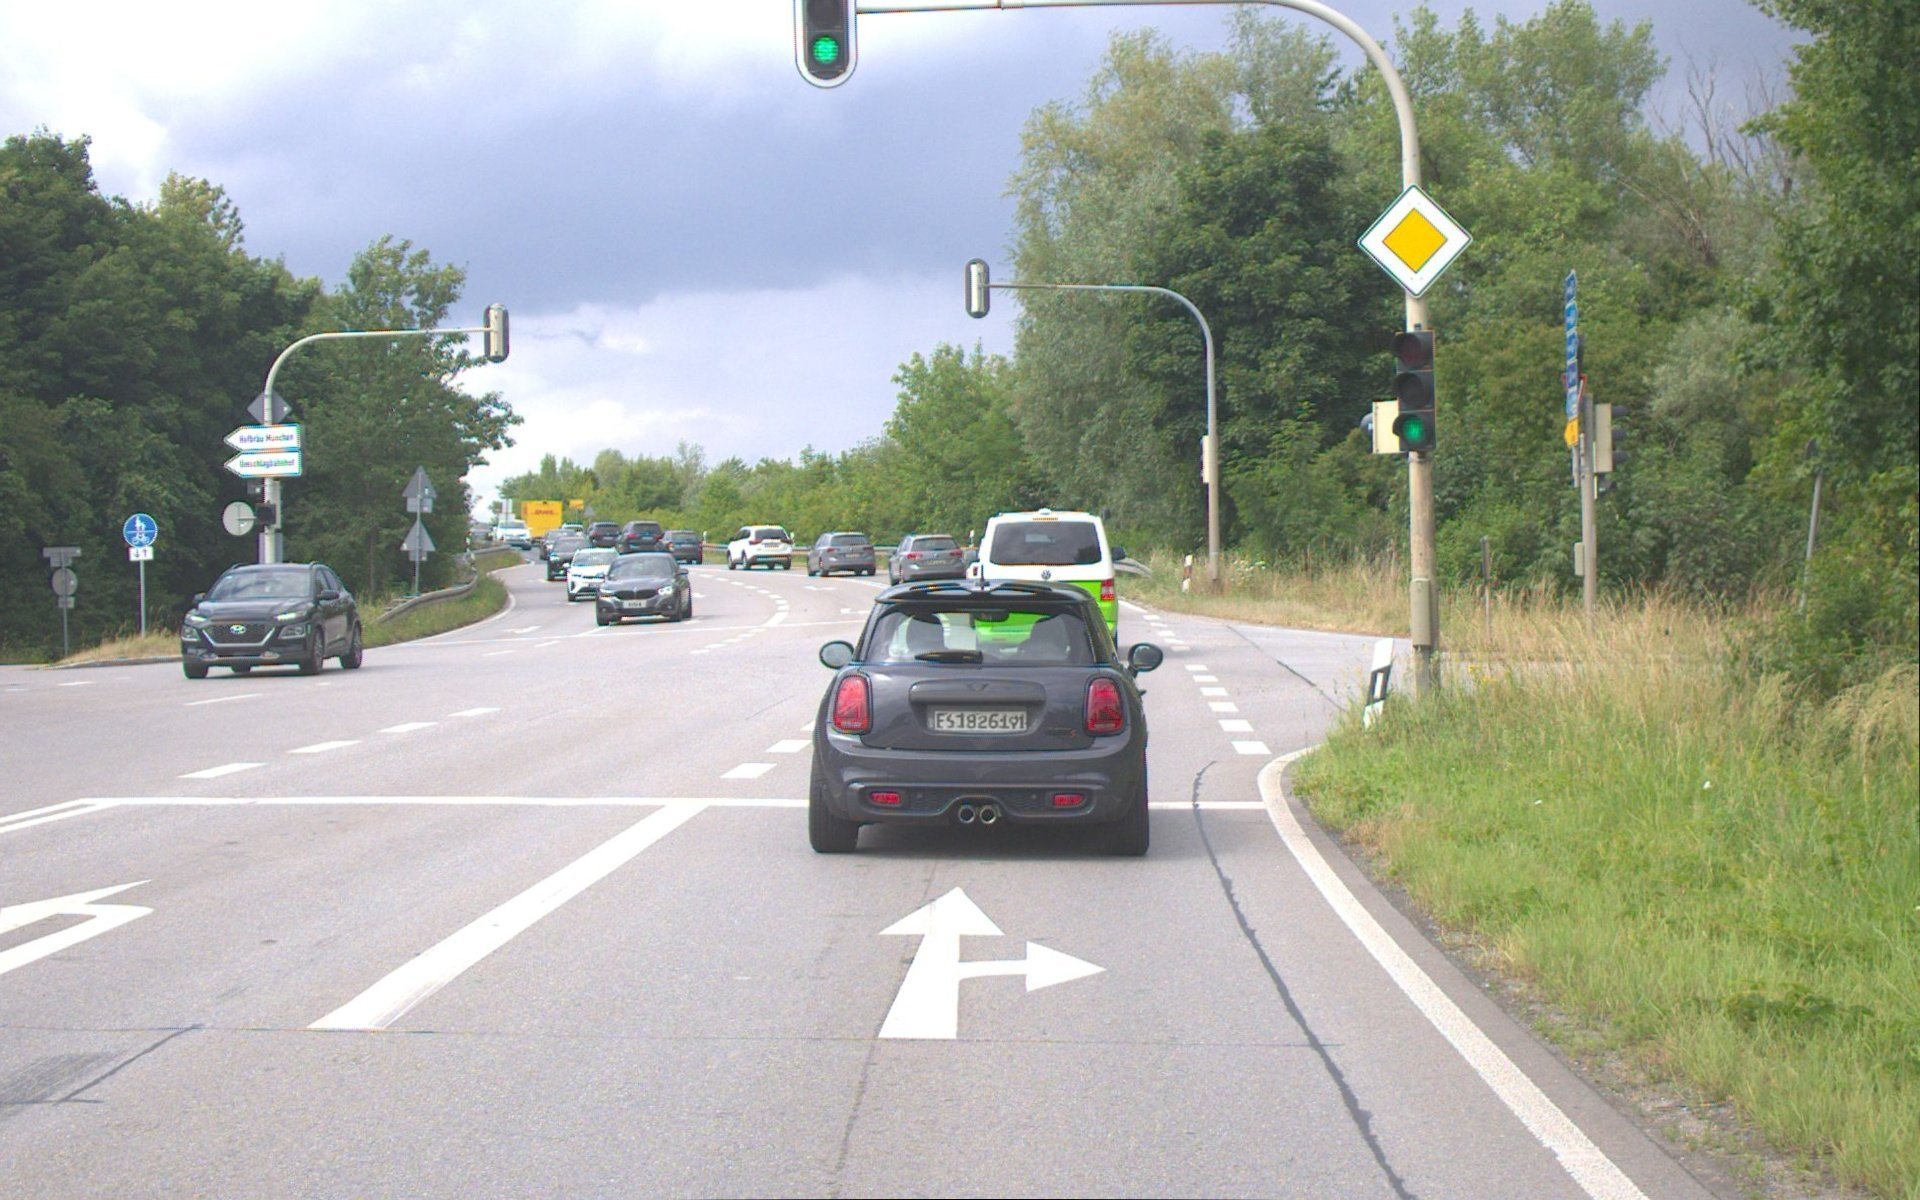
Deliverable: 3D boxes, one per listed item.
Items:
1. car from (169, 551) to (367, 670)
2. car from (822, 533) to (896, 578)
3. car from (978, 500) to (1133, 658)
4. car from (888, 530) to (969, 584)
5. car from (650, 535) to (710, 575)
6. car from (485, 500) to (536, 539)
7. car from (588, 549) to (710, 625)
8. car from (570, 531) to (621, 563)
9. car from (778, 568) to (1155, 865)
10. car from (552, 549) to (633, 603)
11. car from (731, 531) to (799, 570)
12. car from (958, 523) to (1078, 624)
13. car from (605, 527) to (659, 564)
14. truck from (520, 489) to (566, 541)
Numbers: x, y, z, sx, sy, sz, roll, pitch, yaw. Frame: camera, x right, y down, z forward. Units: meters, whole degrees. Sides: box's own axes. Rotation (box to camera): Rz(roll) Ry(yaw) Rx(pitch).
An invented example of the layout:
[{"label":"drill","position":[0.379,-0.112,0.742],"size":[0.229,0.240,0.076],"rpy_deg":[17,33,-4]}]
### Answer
[{"label":"car","position":[-9.521,0.111,47.577],"size":[1.791,1.568,4.000],"rpy_deg":[0,1,2]},{"label":"car","position":[-3.379,-1.476,114.376],"size":[1.993,1.471,4.487],"rpy_deg":[0,0,-8]},{"label":"car","position":[1.323,-0.329,46.129],"size":[1.845,1.980,3.841],"rpy_deg":[0,2,5]},{"label":"car","position":[-0.900,-1.196,96.261],"size":[1.993,1.471,4.486],"rpy_deg":[0,0,-4]},{"label":"car","position":[-12.178,-1.938,149.367],"size":[1.993,1.690,4.487],"rpy_deg":[0,0,-13]},{"label":"car","position":[-19.844,-3.567,151.626],"size":[1.993,1.684,4.001],"rpy_deg":[-1,2,-10]},{"label":"car","position":[-6.748,-0.304,75.035],"size":[1.788,1.525,4.903],"rpy_deg":[-3,1,5]},{"label":"car","position":[-19.076,-2.765,179.948],"size":[1.993,1.690,4.487],"rpy_deg":[0,0,-15]},{"label":"car","position":[0.051,0.556,18.847],"size":[1.845,1.423,3.841],"rpy_deg":[0,1,1]},{"label":"car","position":[-10.689,-0.716,100.341],"size":[1.729,1.499,4.346],"rpy_deg":[-1,1,2]},{"label":"car","position":[-7.470,-1.879,131.491],"size":[1.993,1.471,4.487],"rpy_deg":[0,0,-11]},{"label":"car","position":[0.996,-0.459,59.842],"size":[1.993,1.678,4.000],"rpy_deg":[-1,0,0]},{"label":"car","position":[-15.589,-2.582,163.405],"size":[1.993,1.690,4.487],"rpy_deg":[0,0,-13]},{"label":"truck","position":[-26.341,-5.343,216.999],"size":[2.716,2.888,8.772],"rpy_deg":[0,-1,-8]}]
